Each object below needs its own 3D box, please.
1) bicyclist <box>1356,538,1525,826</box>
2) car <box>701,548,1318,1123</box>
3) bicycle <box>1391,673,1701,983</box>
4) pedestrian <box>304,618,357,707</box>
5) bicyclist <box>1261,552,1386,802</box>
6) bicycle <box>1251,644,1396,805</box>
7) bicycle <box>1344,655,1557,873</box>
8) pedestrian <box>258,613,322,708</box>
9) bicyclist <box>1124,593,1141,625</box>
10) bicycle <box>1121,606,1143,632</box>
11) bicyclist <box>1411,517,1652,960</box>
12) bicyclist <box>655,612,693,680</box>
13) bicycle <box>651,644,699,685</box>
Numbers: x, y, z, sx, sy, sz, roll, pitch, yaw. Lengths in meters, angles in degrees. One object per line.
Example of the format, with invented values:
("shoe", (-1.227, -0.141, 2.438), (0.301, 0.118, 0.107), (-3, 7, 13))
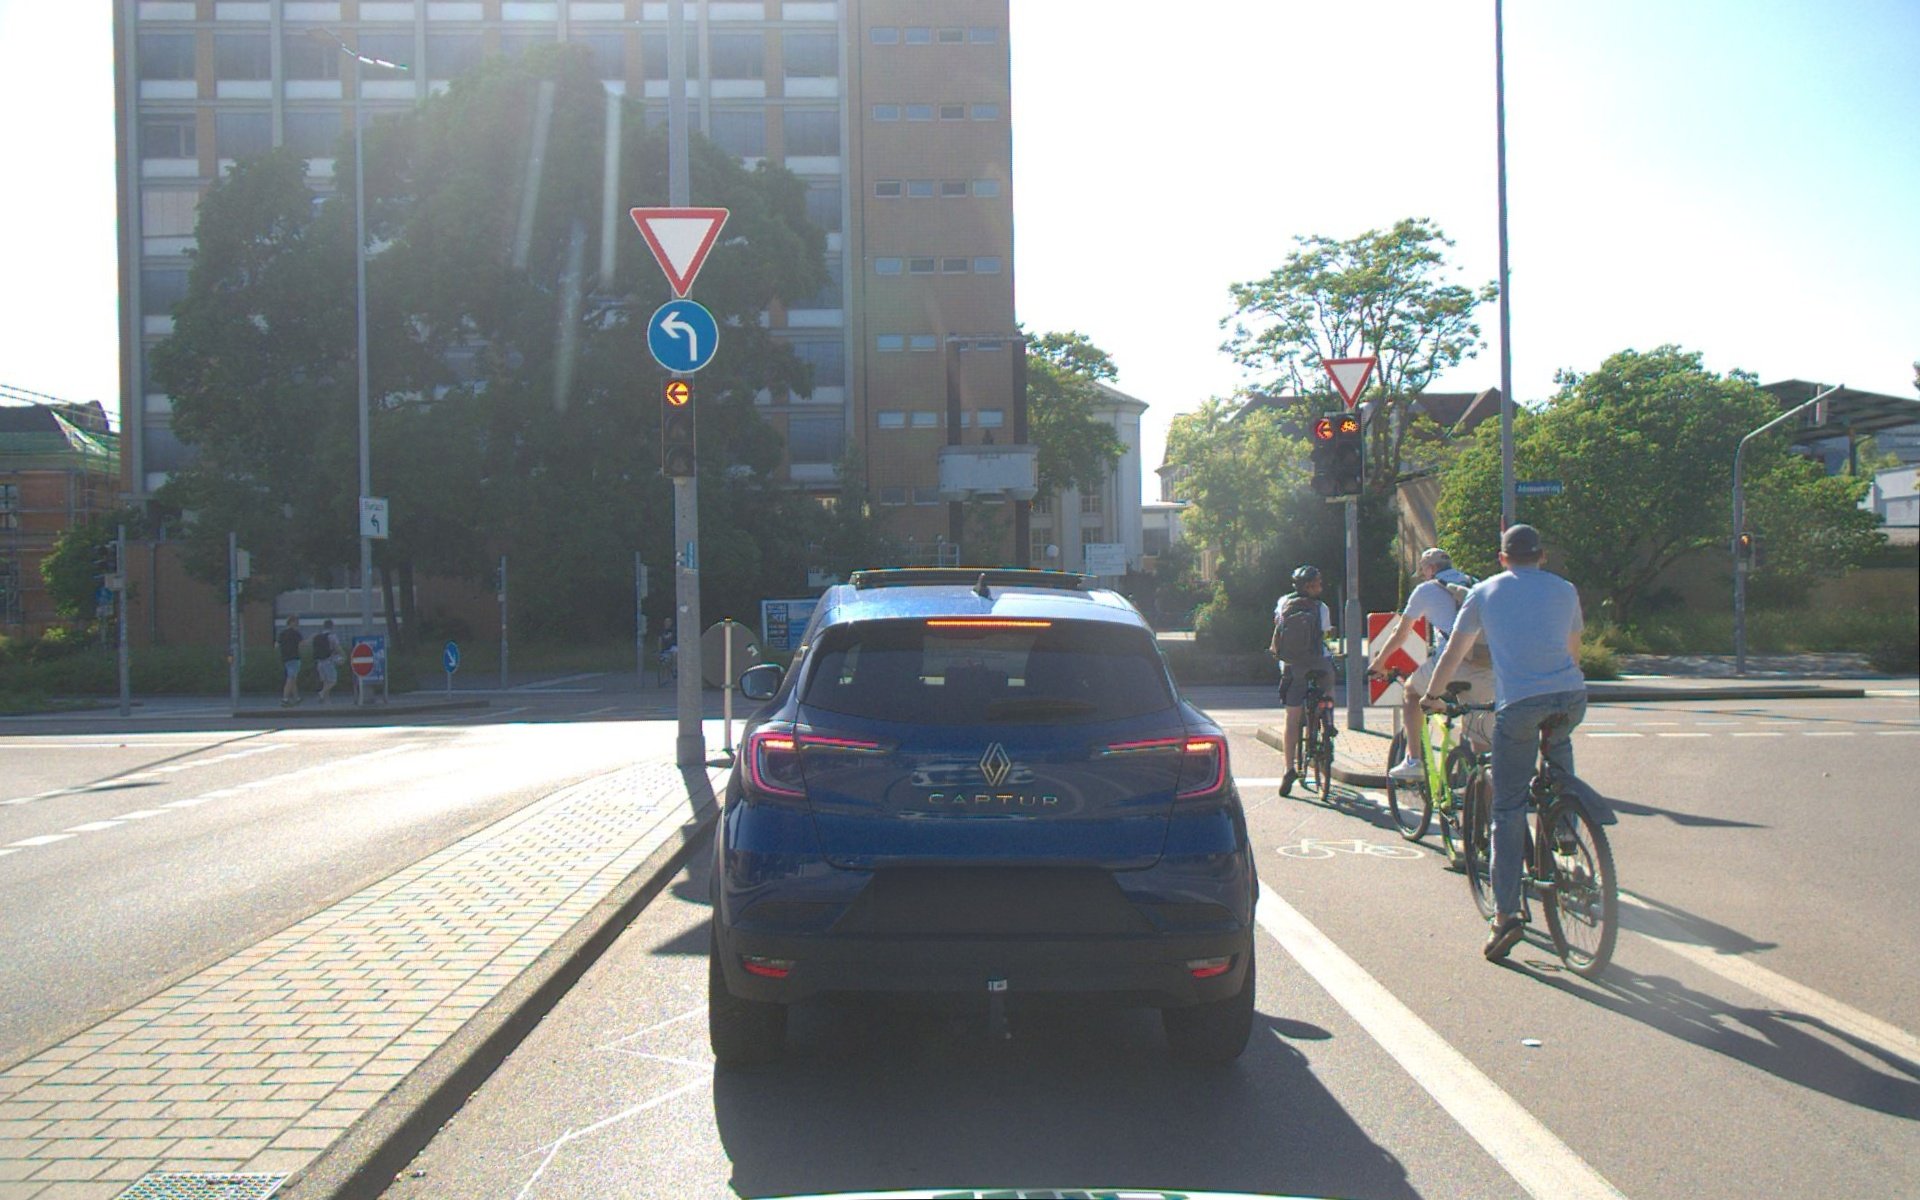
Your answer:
("bicyclist", (2.845, 0.463, 9.890), (0.664, 1.622, 1.142), (0, 0, -1))
("car", (0.061, 0.665, 6.643), (1.753, 1.613, 3.912), (0, 0, -3))
("bicycle", (2.512, 0.922, 7.343), (0.675, 1.108, 1.922), (0, 0, -1))
("pedestrian", (-12.709, 1.258, 33.416), (0.666, 1.761, 0.761), (-1, 0, 13))
("bicyclist", (2.749, 0.562, 12.610), (0.685, 1.822, 1.142), (0, 0, -1))
("bicycle", (2.780, 0.916, 12.842), (0.675, 1.108, 1.922), (0, 0, -1))
("bicycle", (2.854, 0.912, 9.833), (0.675, 1.108, 1.922), (0, 0, -1))
("pedestrian", (-13.670, 1.224, 33.763), (0.796, 1.895, 0.910), (-1, 0, 13))
("bicyclist", (8.169, 0.426, 78.419), (0.680, 1.507, 0.717), (-1, 0, -2))
("bicycle", (8.164, 0.892, 78.616), (0.680, 1.160, 2.440), (-1, 0, -2))
("bicyclist", (2.507, 0.569, 7.376), (0.669, 1.822, 1.142), (0, 0, -1))
("bicyclist", (-7.542, 1.202, 43.666), (0.739, 1.746, 0.999), (-1, 0, 5))
("bicycle", (-7.523, 1.701, 43.769), (0.739, 1.002, 2.095), (-1, 0, 5))
